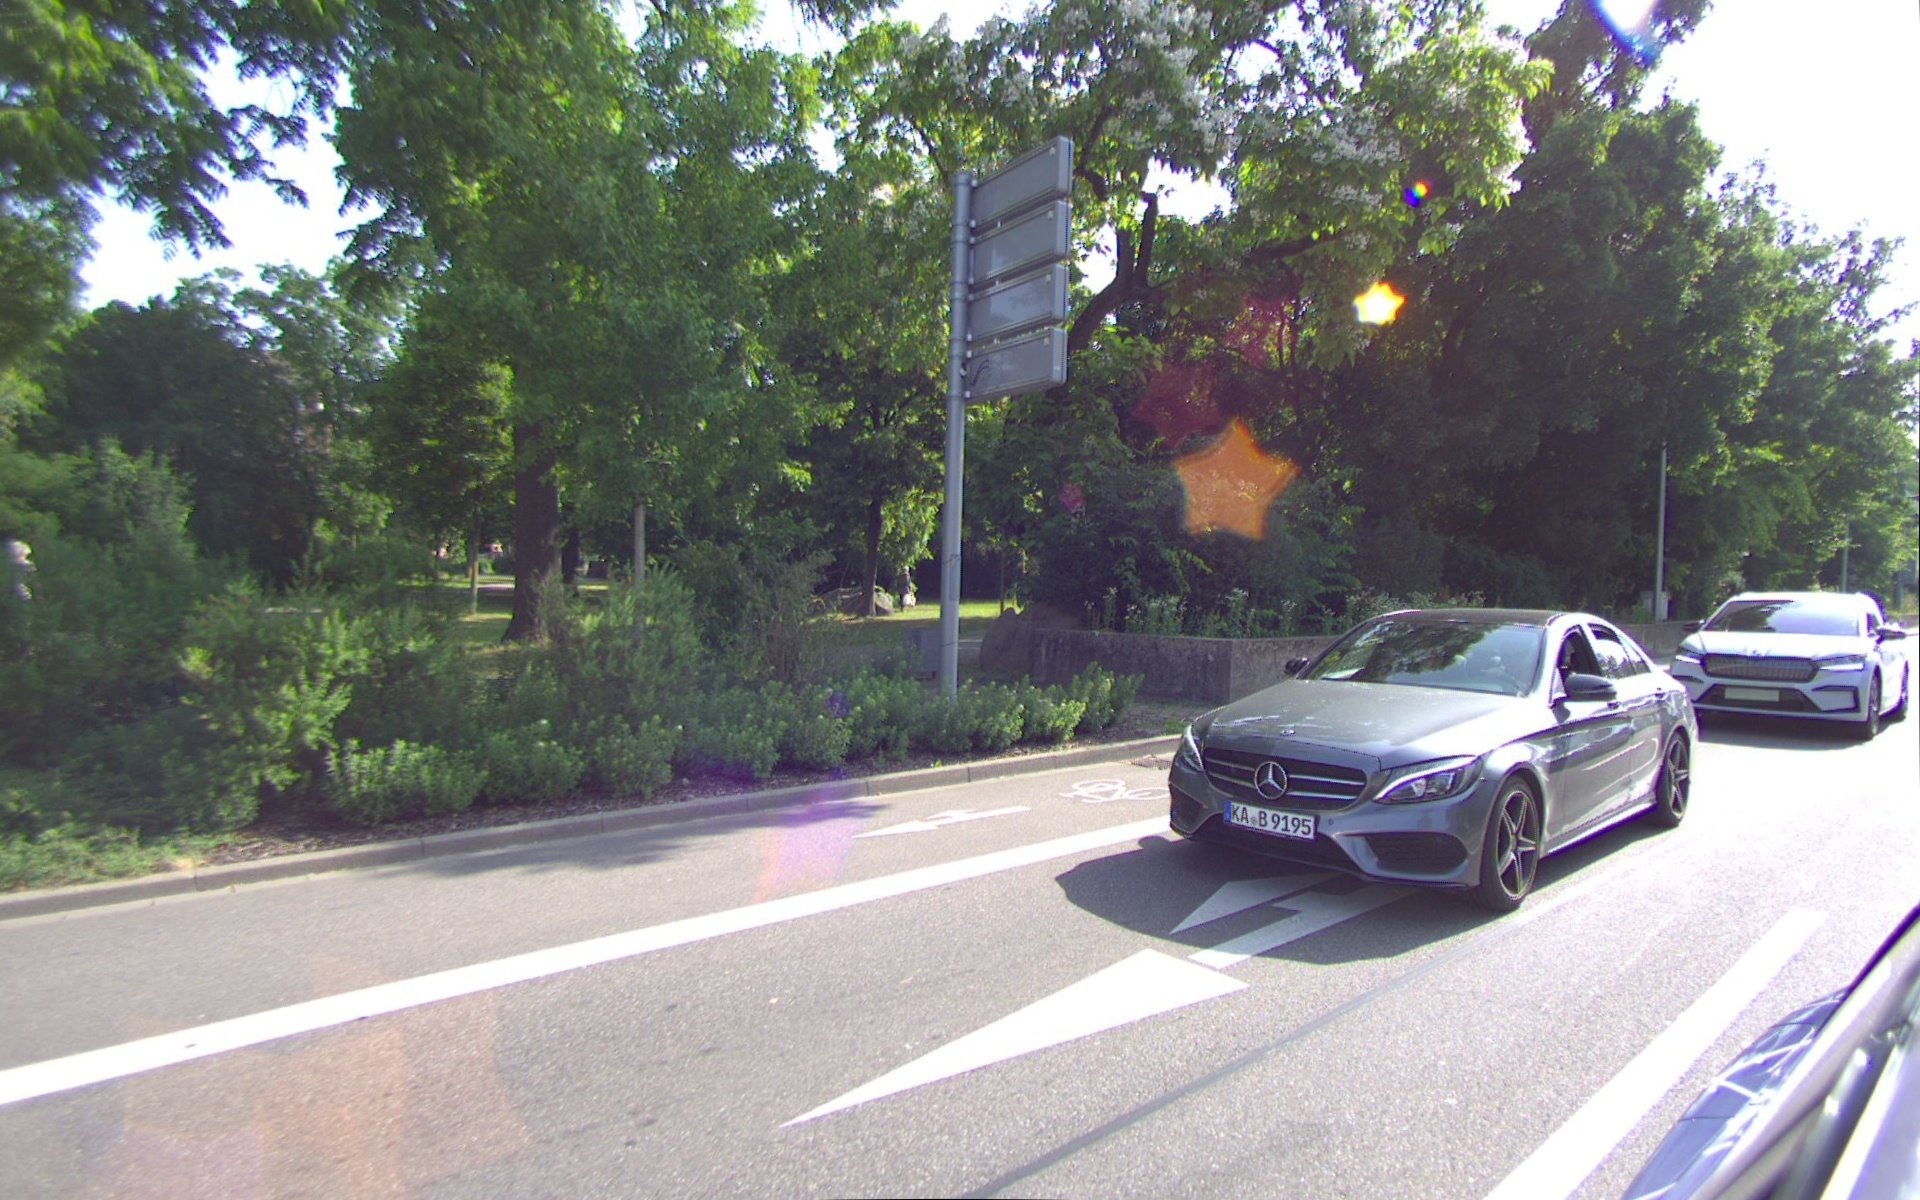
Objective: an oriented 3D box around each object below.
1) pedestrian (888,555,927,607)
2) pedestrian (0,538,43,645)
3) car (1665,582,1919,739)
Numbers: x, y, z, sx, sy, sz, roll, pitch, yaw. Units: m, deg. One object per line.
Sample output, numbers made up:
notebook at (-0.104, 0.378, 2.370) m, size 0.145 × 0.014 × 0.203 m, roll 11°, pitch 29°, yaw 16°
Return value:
pedestrian at (-1.917, -0.695, 37.080) m, size 1.062 × 1.853 × 0.974 m, roll 2°, pitch 2°, yaw 32°
pedestrian at (-13.961, -0.132, 14.808) m, size 0.523 × 1.536 × 0.671 m, roll 1°, pitch 1°, yaw -8°
car at (10.413, 0.601, 12.394) m, size 4.175 × 1.590 × 1.896 m, roll 0°, pitch 1°, yaw -40°
